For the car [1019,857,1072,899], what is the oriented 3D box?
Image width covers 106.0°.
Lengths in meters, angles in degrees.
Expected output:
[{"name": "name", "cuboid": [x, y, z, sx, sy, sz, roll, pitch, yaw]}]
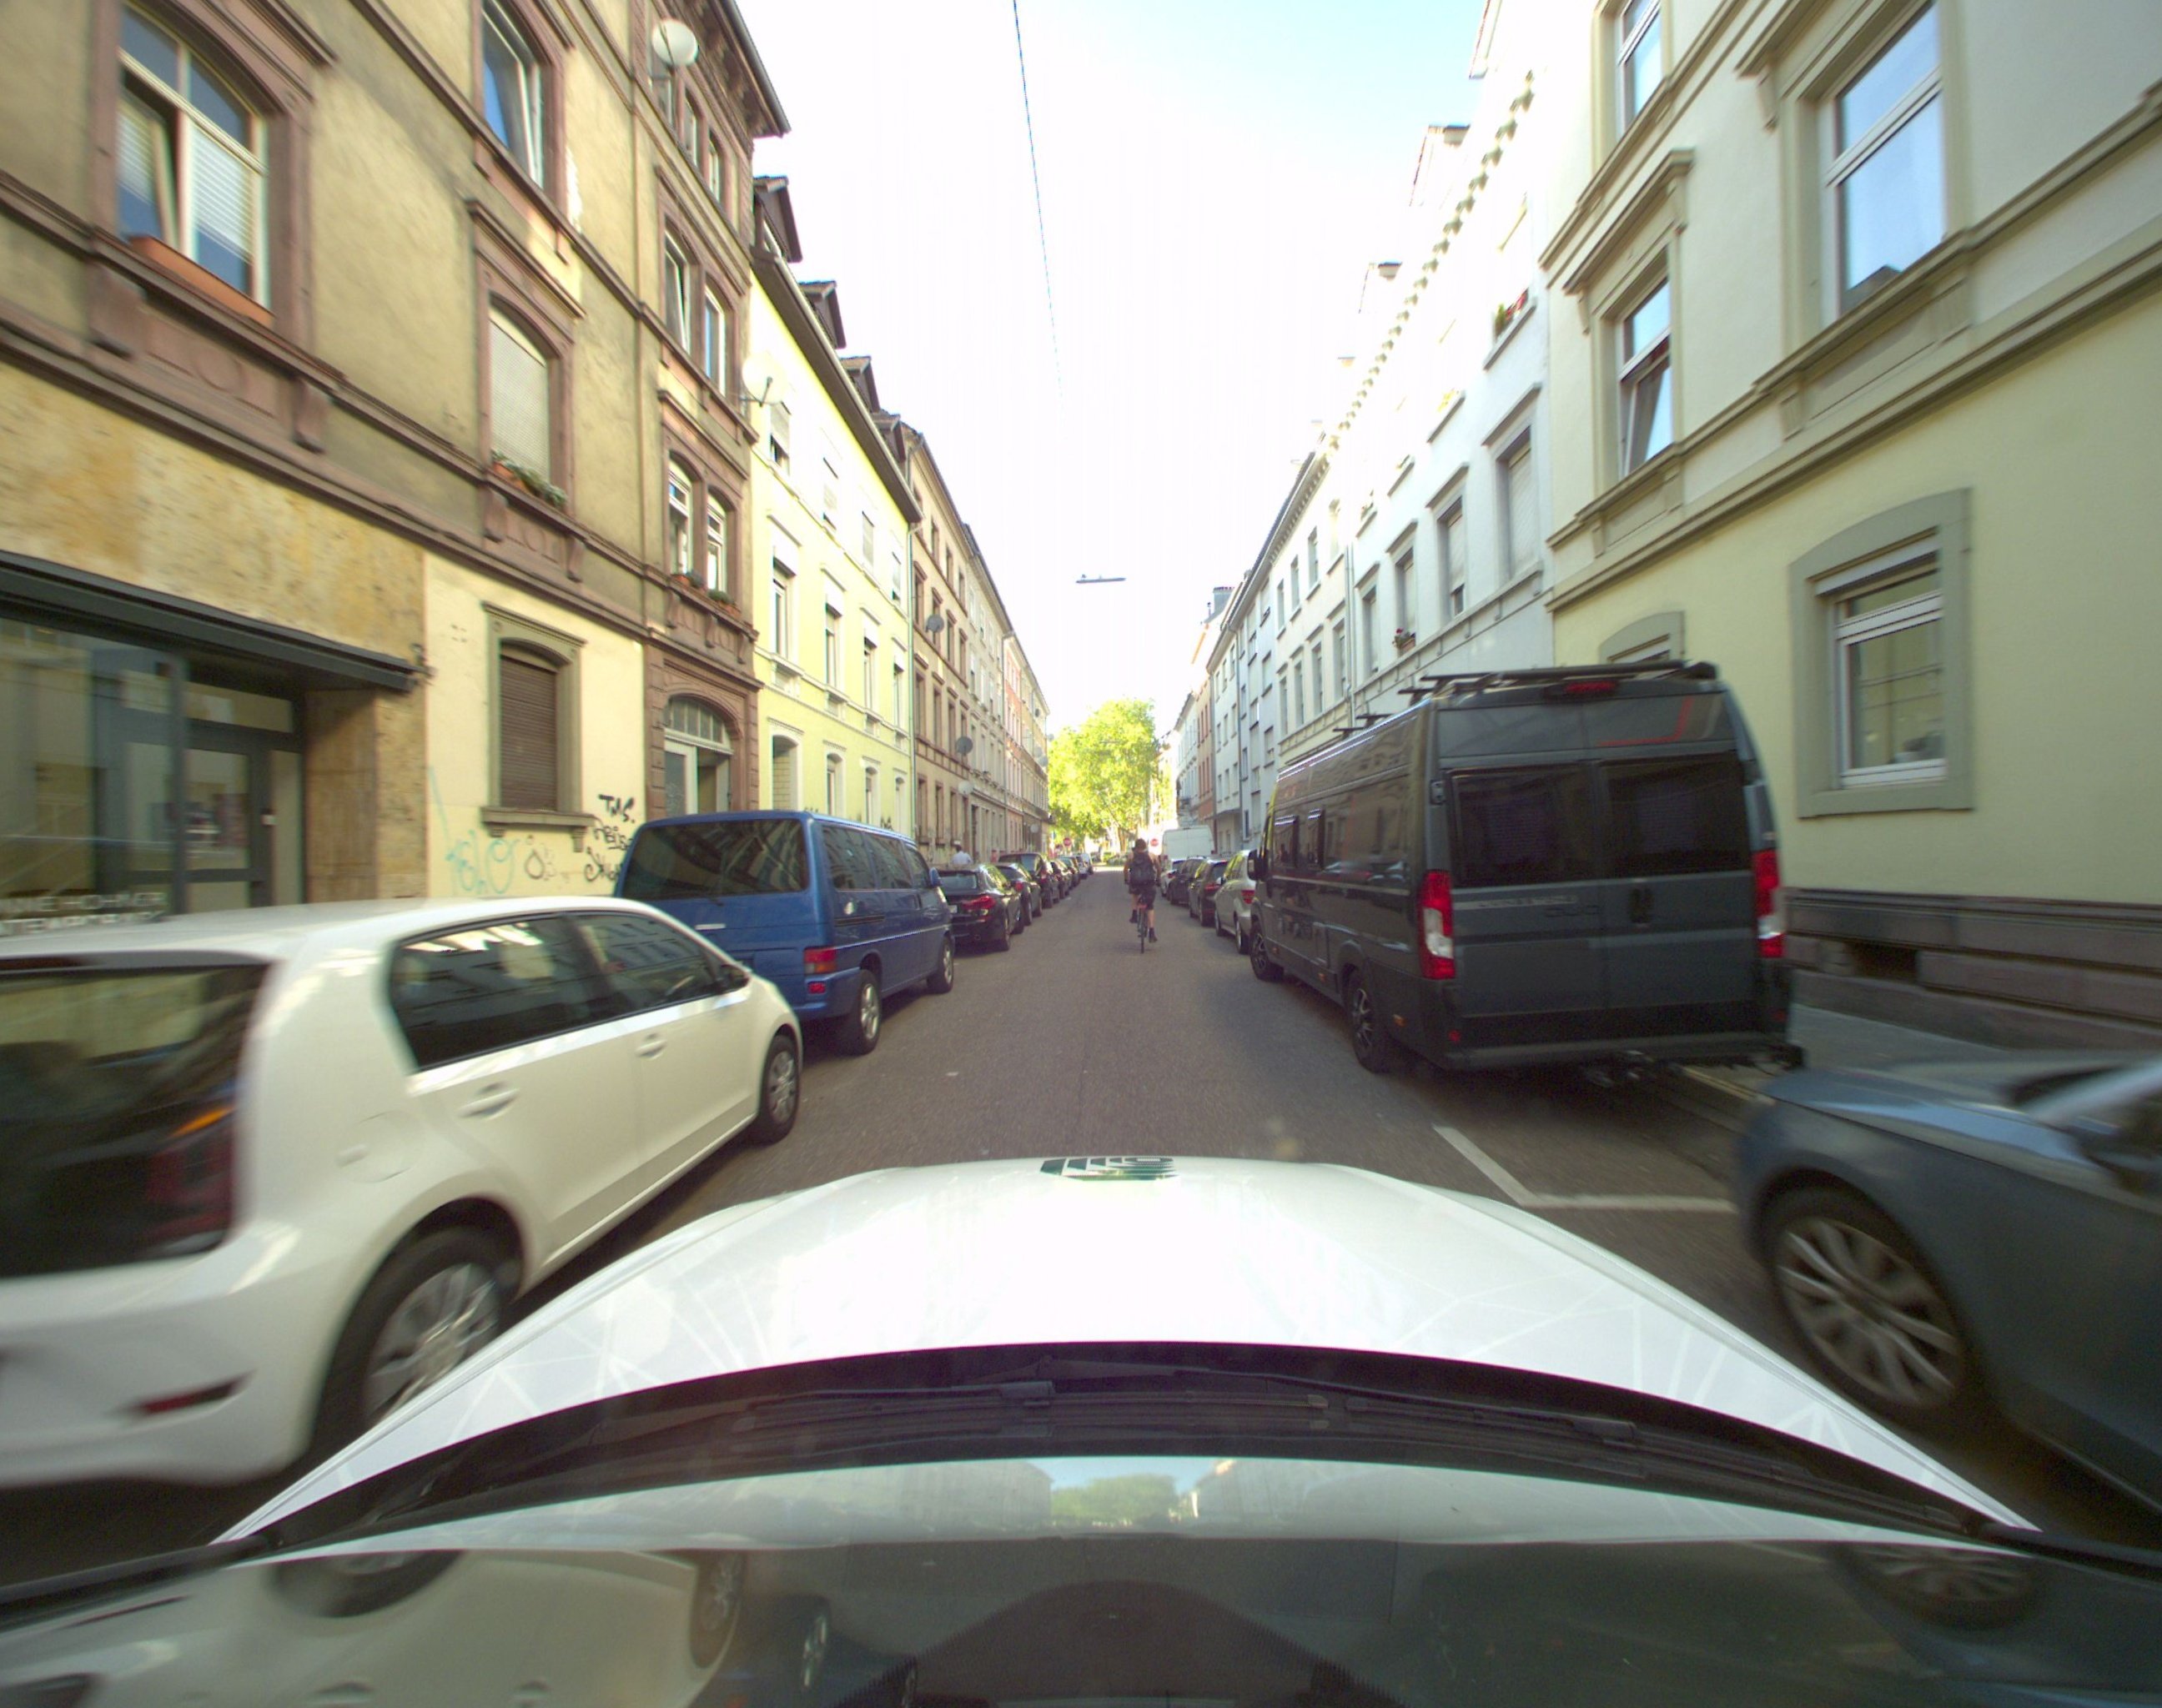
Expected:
[{"name": "car", "cuboid": [-1.293, 0.866, 30.829, 1.585, 1.440, 3.657, -2, 0, 3]}]

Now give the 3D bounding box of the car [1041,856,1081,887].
[{"name": "car", "cuboid": [-0.953, 0.842, 40.865, 1.699, 1.414, 4.304, -2, 0, 2]}]

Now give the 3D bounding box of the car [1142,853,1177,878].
[{"name": "car", "cuboid": [4.617, 0.658, 48.314, 1.652, 1.338, 4.000, -2, 0, 1]}]

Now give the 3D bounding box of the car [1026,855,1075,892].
[{"name": "car", "cuboid": [-1.283, 0.811, 35.810, 1.666, 1.430, 3.893, -2, 0, 5]}]

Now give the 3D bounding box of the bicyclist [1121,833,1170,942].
[{"name": "bicyclist", "cuboid": [1.017, 0.517, 13.105, 0.737, 1.679, 1.117, 0, 0, 2]}]

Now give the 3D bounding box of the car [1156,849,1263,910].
[{"name": "car", "cuboid": [3.648, 0.669, 24.003, 1.810, 1.478, 4.597, -5, 1, -7]}]

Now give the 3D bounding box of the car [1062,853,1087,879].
[{"name": "car", "cuboid": [-0.420, 0.747, 53.197, 1.540, 1.550, 3.464, -2, 0, -1]}]

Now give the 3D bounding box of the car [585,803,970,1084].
[{"name": "car", "cuboid": [-2.500, 0.639, 8.150, 1.820, 1.891, 4.616, -4, 0, 2]}]

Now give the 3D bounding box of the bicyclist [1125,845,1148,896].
[{"name": "bicyclist", "cuboid": [1.840, 0.534, 27.047, 0.667, 1.658, 0.877, -2, 0, 2]}]

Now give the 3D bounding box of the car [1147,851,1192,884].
[{"name": "car", "cuboid": [4.362, 0.635, 40.609, 1.726, 1.470, 4.020, -2, 0, 0]}]

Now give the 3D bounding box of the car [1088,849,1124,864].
[{"name": "car", "cuboid": [3.253, 0.369, 104.813, 4.458, 1.759, 1.865, -2, 0, -2]}]

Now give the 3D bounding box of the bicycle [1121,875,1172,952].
[{"name": "bicycle", "cuboid": [1.029, 0.924, 13.252, 0.737, 1.100, 2.043, 0, 0, 2]}]

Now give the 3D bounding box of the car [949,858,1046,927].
[{"name": "car", "cuboid": [-1.921, 0.859, 19.899, 1.730, 1.427, 4.003, -2, 0, 2]}]

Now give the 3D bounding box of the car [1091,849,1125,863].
[{"name": "car", "cuboid": [3.722, 0.291, 113.025, 4.458, 1.696, 1.865, -2, 0, -2]}]

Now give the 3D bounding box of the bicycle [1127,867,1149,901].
[{"name": "bicycle", "cuboid": [1.893, 0.981, 27.132, 0.661, 1.037, 1.960, -2, 0, 2]}]

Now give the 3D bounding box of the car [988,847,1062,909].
[{"name": "car", "cuboid": [-1.699, 0.717, 25.858, 1.794, 1.698, 4.002, -4, 0, 2]}]

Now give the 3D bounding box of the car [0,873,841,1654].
[{"name": "car", "cuboid": [-2.483, 0.884, 3.548, 1.640, 1.447, 3.840, -2, 0, 1]}]

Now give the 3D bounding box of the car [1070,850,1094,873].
[{"name": "car", "cuboid": [0.099, 0.589, 65.396, 1.781, 1.737, 3.878, -2, 0, 2]}]

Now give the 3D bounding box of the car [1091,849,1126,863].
[{"name": "car", "cuboid": [3.694, 0.285, 109.528, 4.458, 1.696, 1.865, -2, 0, -2]}]

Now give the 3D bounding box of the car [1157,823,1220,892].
[{"name": "car", "cuboid": [4.372, 0.121, 34.073, 2.194, 2.550, 6.043, -2, 0, 4]}]

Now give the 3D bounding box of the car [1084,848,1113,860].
[{"name": "car", "cuboid": [2.792, 0.026, 129.612, 4.458, 1.696, 1.865, -2, 0, -2]}]

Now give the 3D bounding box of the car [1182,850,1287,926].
[{"name": "car", "cuboid": [3.412, 0.697, 18.807, 1.739, 1.485, 4.245, -2, 0, 2]}]

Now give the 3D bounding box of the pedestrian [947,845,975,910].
[{"name": "pedestrian", "cuboid": [-3.441, 0.667, 23.359, 0.648, 1.817, 0.754, 0, 0, 3]}]

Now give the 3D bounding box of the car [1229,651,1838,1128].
[{"name": "car", "cuboid": [2.974, 0.185, 7.488, 2.167, 2.425, 6.312, -3, 0, 2]}]

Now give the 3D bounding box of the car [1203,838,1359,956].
[{"name": "car", "cuboid": [3.234, 0.624, 14.056, 1.687, 1.608, 4.377, -3, 0, 2]}]

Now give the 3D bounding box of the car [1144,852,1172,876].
[{"name": "car", "cuboid": [5.003, 0.630, 53.399, 1.585, 1.492, 3.878, -2, 0, 3]}]

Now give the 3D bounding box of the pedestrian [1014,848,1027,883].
[{"name": "pedestrian", "cuboid": [-3.250, 0.614, 43.922, 0.608, 1.858, 0.754, 0, 0, 2]}]

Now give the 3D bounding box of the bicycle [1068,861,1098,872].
[{"name": "bicycle", "cuboid": [0.188, 1.150, 75.022, 2.707, 0.892, 0.618, -2, 0, -1]}]

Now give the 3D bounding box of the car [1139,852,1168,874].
[{"name": "car", "cuboid": [5.200, 0.641, 58.857, 1.704, 1.470, 4.000, -2, 0, 1]}]

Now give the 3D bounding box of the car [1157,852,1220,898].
[{"name": "car", "cuboid": [3.713, 0.684, 28.644, 1.719, 1.429, 3.833, -2, 0, 1]}]

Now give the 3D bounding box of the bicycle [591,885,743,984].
[{"name": "bicycle", "cuboid": [-5.166, 0.956, 10.344, 0.752, 1.021, 2.031, 2, 0, 3]}]

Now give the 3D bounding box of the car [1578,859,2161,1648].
[{"name": "car", "cuboid": [2.897, 0.767, 1.338, 1.740, 1.444, 4.174, -1, 0, 2]}]

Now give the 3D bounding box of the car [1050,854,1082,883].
[{"name": "car", "cuboid": [-0.803, 0.780, 45.825, 1.599, 1.530, 3.379, -3, 0, 1]}]

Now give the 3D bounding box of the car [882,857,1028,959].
[{"name": "car", "cuboid": [-2.082, 0.839, 14.837, 1.856, 1.440, 4.645, -2, 1, 0]}]
